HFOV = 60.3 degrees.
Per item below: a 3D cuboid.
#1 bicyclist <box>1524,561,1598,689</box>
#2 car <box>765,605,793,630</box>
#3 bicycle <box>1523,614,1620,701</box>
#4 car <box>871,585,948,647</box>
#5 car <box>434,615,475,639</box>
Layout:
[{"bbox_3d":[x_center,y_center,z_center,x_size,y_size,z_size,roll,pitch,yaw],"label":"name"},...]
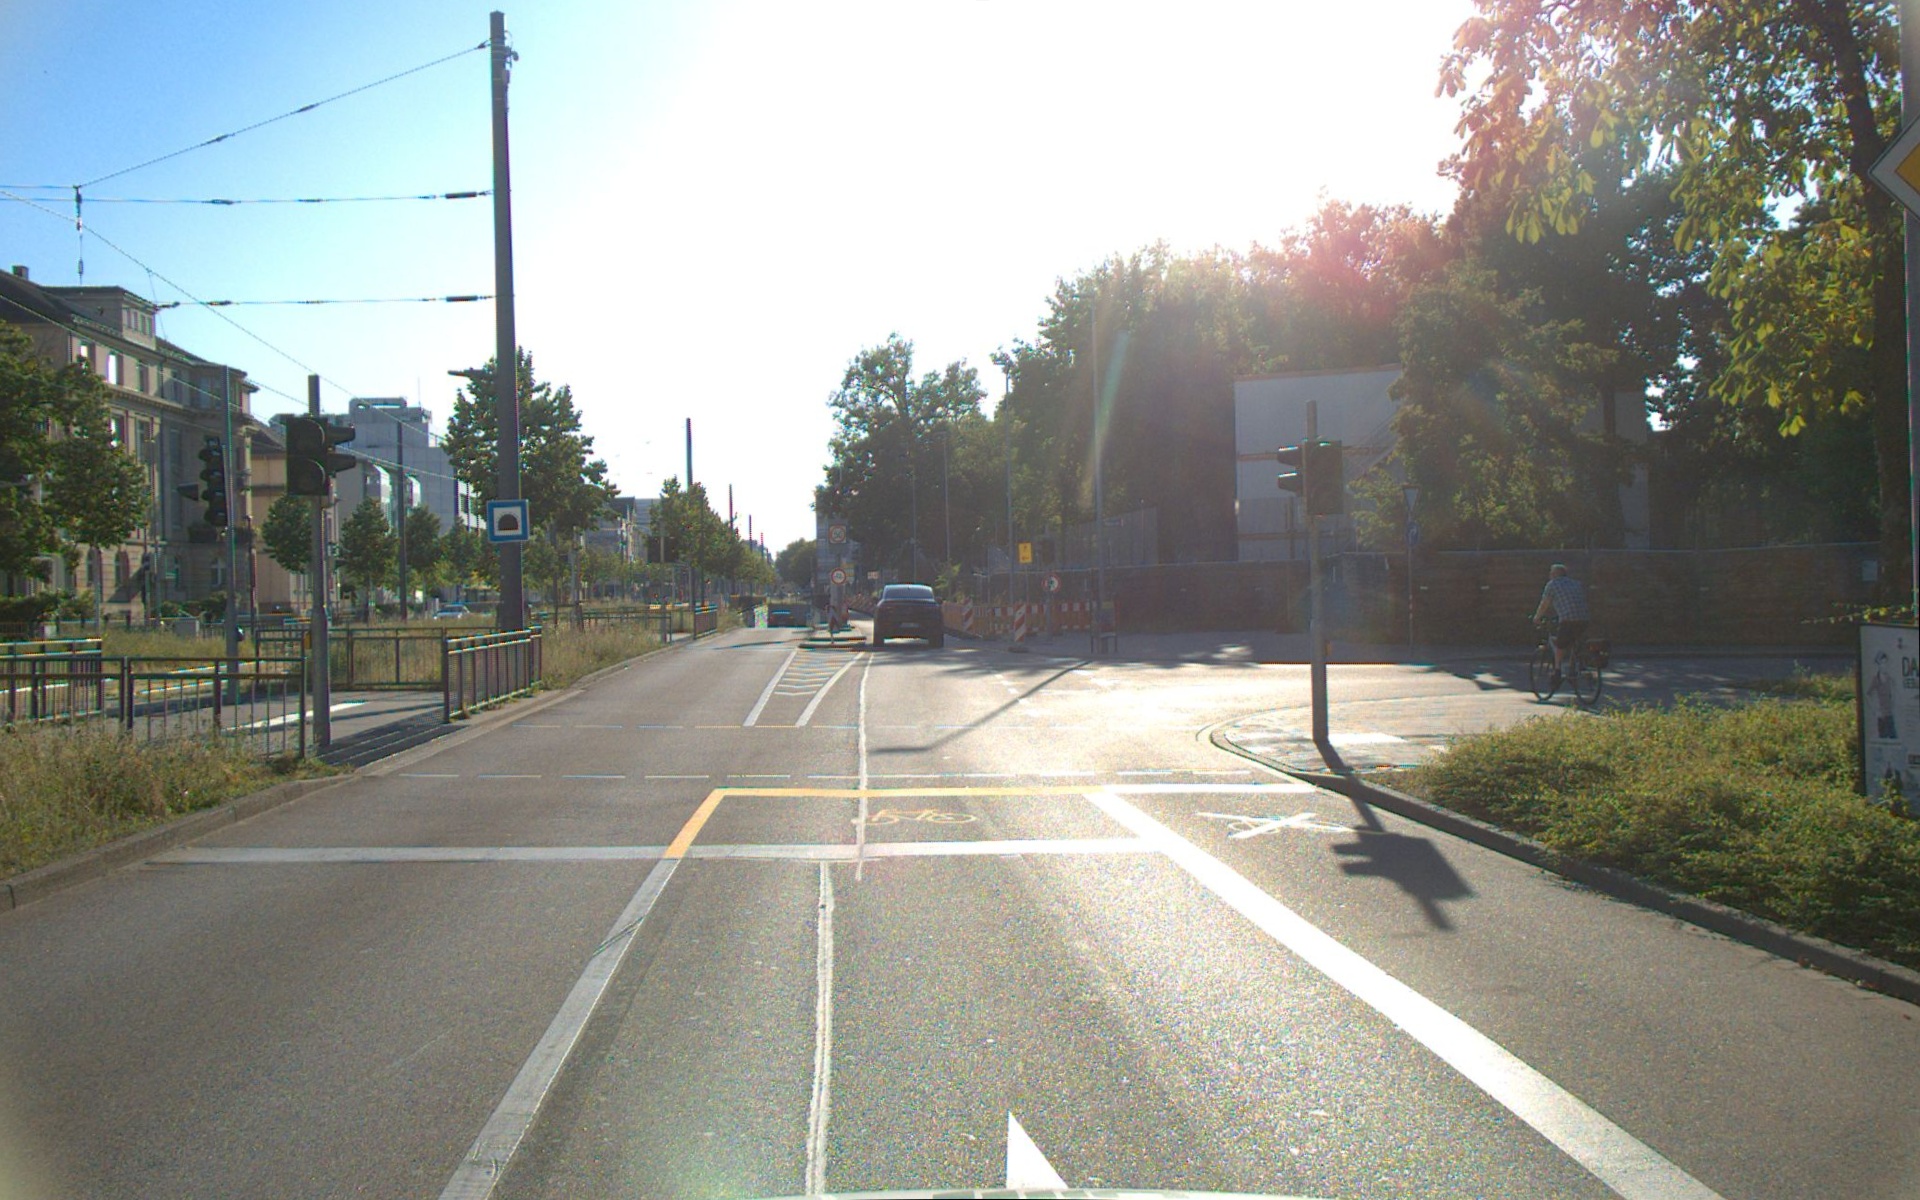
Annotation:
[{"bbox_3d":[7.953,0.320,21.914,0.572,1.643,0.902,-1,0,-5],"label":"bicyclist"},{"bbox_3d":[-12.350,1.167,113.048,1.791,1.688,3.996,0,0,-5],"label":"car"},{"bbox_3d":[8.073,0.733,21.907,0.419,1.080,1.909,-1,0,-4],"label":"bicycle"},{"bbox_3d":[-1.472,0.443,47.058,1.966,1.688,3.996,0,0,-5],"label":"car"},{"bbox_3d":[-33.452,1.782,109.545,1.742,1.489,4.656,-1,0,-6],"label":"car"}]
